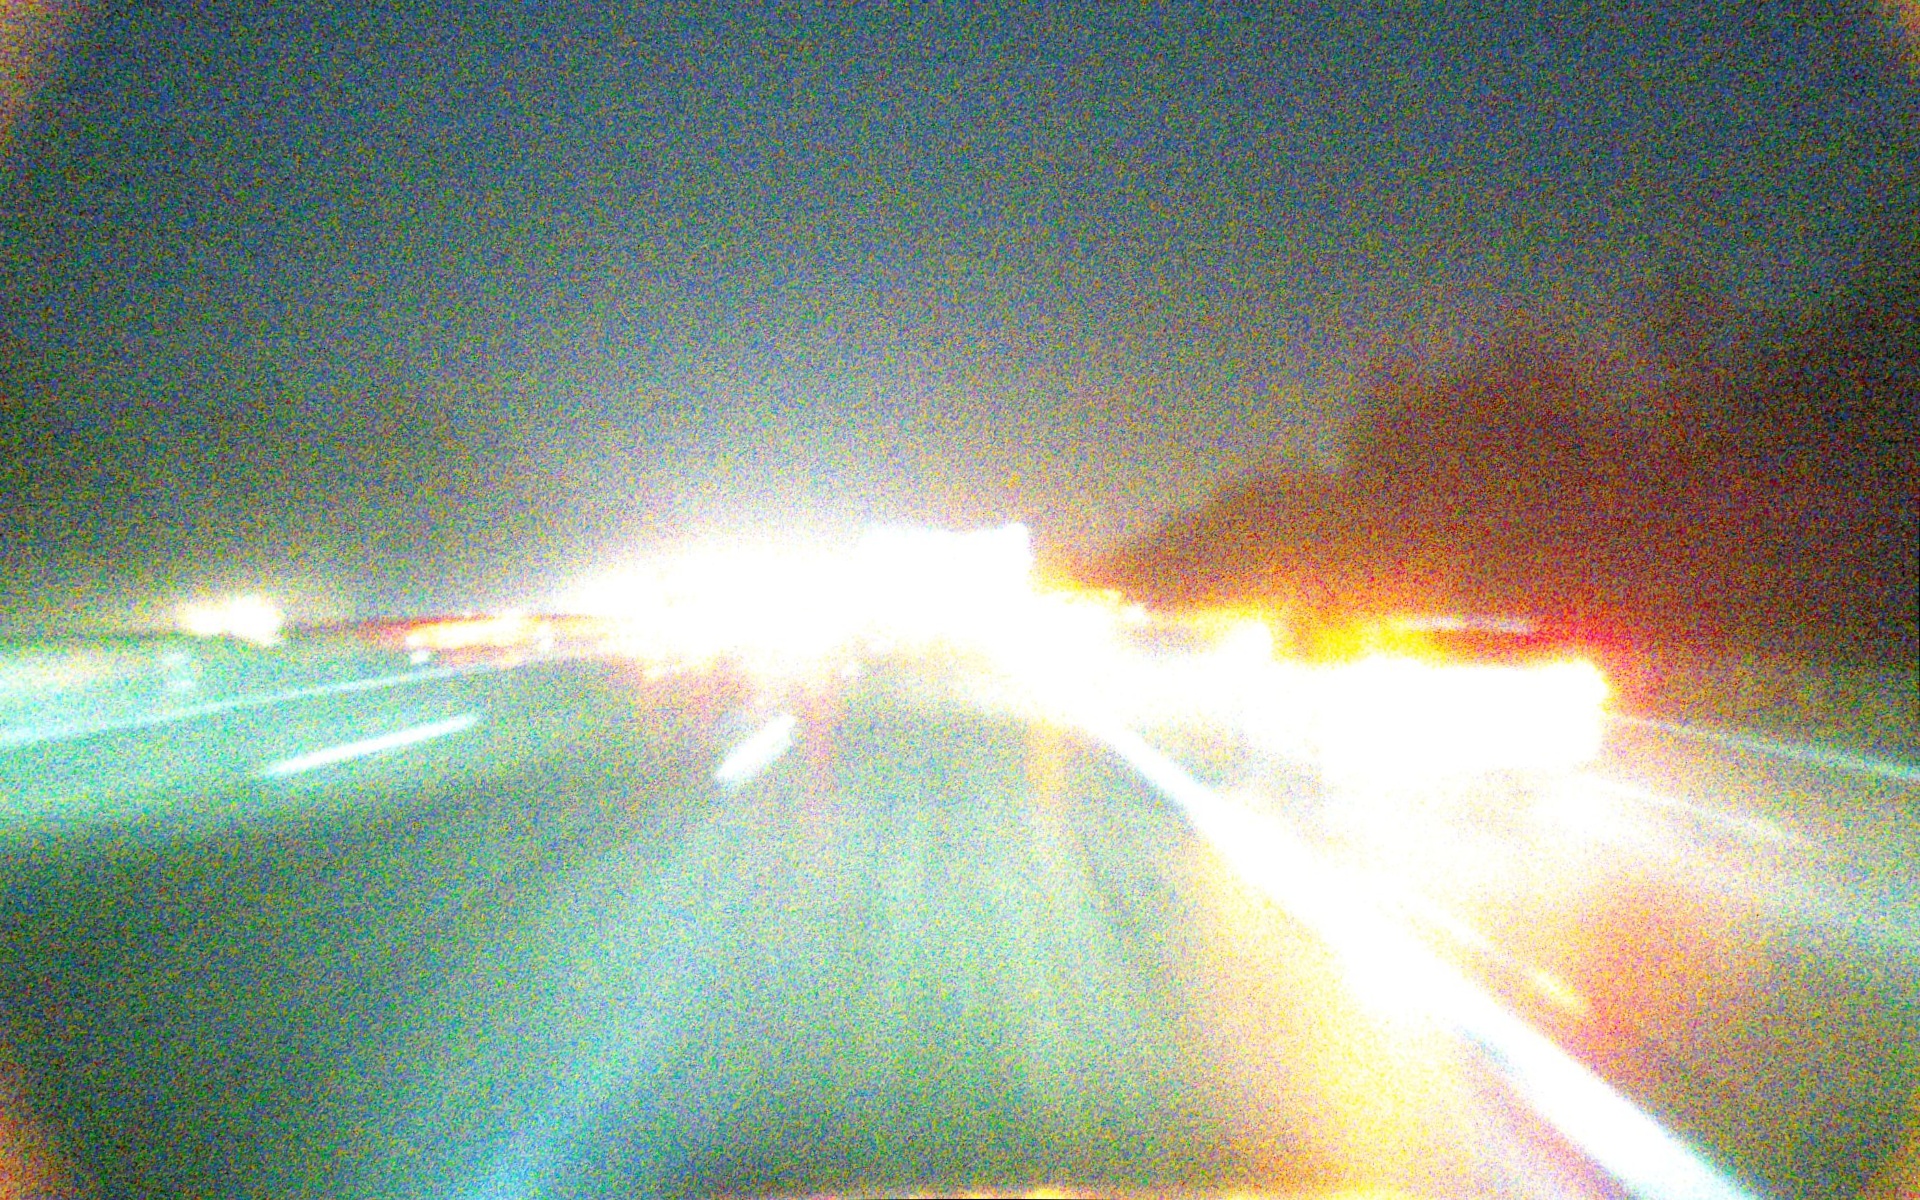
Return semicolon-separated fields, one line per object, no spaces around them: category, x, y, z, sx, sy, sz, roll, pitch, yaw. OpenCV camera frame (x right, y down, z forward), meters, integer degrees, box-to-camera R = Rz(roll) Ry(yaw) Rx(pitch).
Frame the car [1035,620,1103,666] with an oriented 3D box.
car;3.157;1.234;48.358;1.550;1.268;3.065;1;-1;-5

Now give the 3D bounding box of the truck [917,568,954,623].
truck;-1.446;-0.218;100.909;1.953;3.096;6.465;-3;-1;1

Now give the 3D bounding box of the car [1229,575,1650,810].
car;3.589;0.605;13.486;2.015;1.545;5.016;0;0;0

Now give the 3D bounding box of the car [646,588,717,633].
car;-8.502;0.353;50.746;1.629;1.258;3.759;-3;-1;-3

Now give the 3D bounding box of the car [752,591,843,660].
car;-3.736;0.557;38.506;1.765;1.513;3.999;0;0;-1

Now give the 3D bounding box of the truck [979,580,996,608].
truck;3.266;-0.712;198.332;1.953;3.096;6.465;-3;-1;1

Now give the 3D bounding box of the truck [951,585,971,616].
truck;0.091;0.122;175.624;1.953;3.096;6.465;-3;-1;1

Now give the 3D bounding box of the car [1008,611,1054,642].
car;2.943;1.107;69.011;1.550;1.268;3.065;1;-1;-5

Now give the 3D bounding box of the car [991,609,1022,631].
car;2.806;1.227;100.634;1.550;1.268;3.065;1;-1;-5
